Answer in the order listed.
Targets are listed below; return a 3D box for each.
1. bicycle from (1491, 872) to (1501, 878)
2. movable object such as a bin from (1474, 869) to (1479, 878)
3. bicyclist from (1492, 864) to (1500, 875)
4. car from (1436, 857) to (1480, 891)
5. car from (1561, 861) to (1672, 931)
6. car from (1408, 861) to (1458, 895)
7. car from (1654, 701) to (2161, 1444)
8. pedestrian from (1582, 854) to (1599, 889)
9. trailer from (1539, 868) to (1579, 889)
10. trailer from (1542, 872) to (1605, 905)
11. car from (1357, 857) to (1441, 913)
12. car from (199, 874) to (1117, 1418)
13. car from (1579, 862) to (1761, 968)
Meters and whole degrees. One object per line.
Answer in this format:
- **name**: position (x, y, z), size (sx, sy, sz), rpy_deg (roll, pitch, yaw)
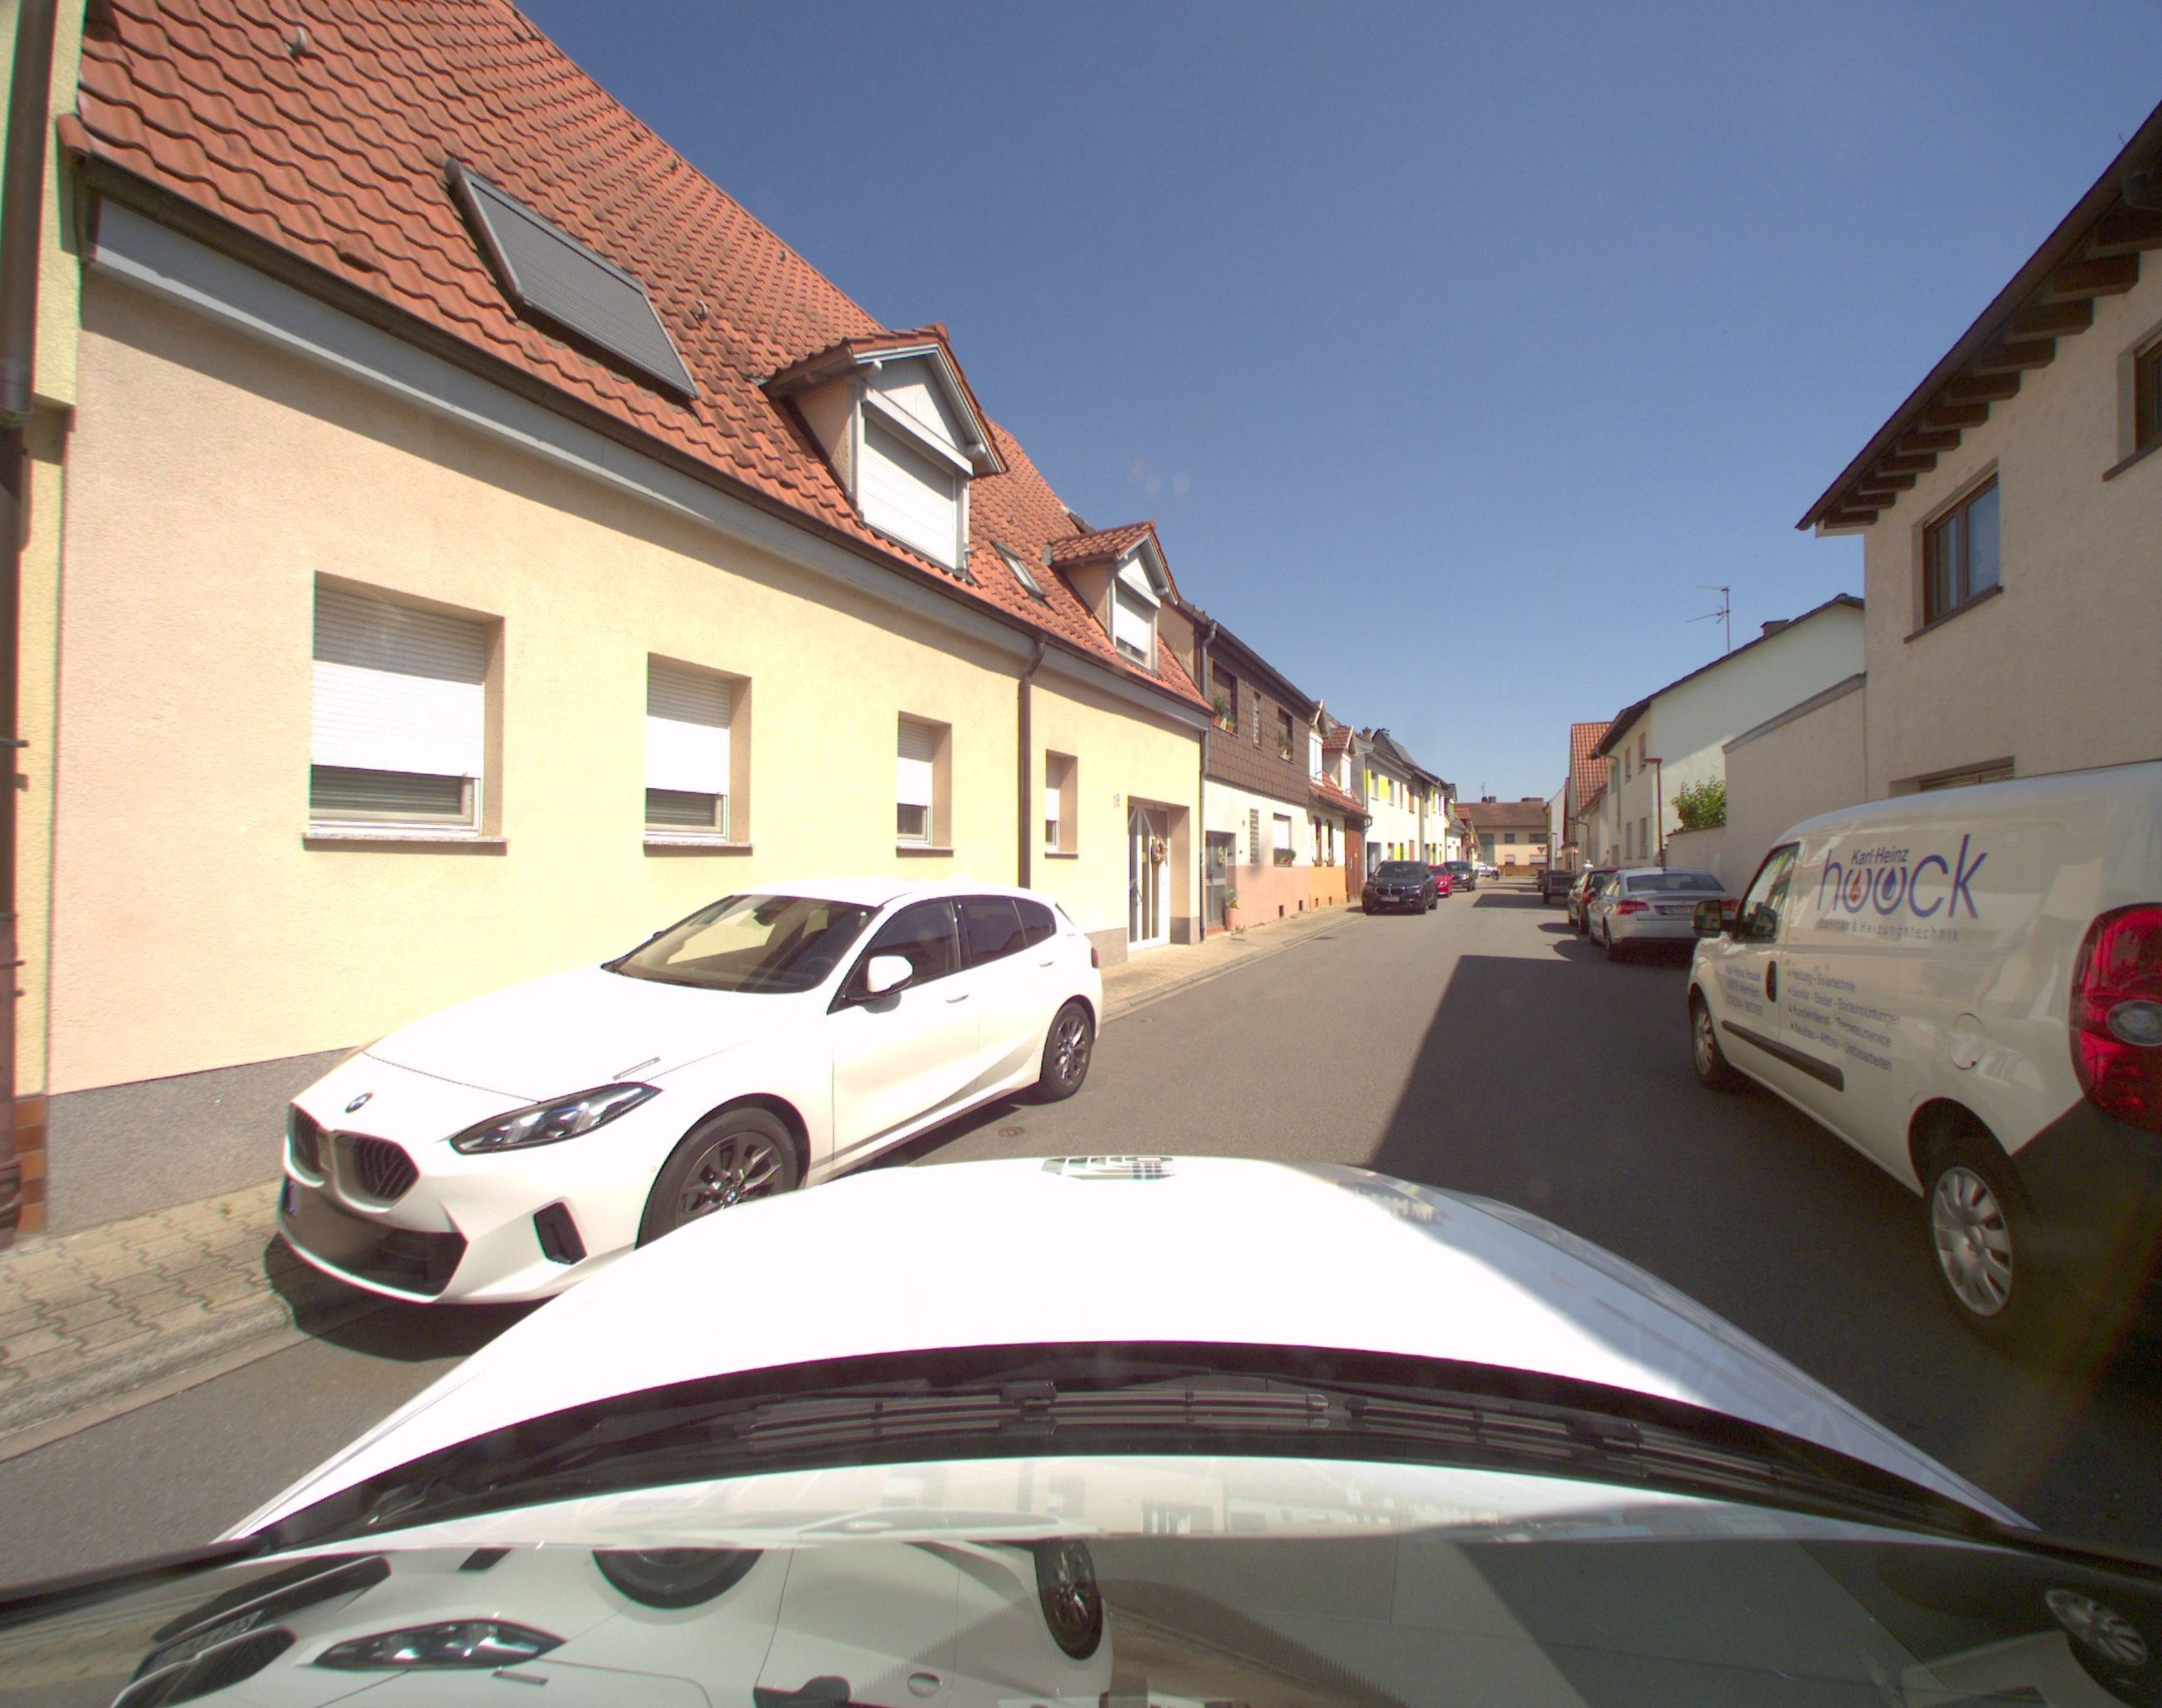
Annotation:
- **bicycle**: position (36.572, 1.852, 71.728), size (0.439, 0.567, 0.940), rpy_deg (0, -1, 5)
- **movable object such as a bin**: position (39.537, 1.963, 81.492), size (0.444, 0.921, 0.406), rpy_deg (-1, -2, 26)
- **bicyclist**: position (36.562, 1.388, 71.732), size (0.459, 0.959, 0.352), rpy_deg (-3, -1, 7)
- **car**: position (20.065, 1.074, 43.270), size (1.783, 1.704, 4.514), rpy_deg (-2, -2, 28)
- **car**: position (12.241, 0.908, 18.842), size (1.634, 1.436, 4.158), rpy_deg (-1, -1, 26)
- **car**: position (15.942, 1.071, 36.752), size (1.783, 1.441, 4.513), rpy_deg (-1, -1, 27)
- **car**: position (4.354, 0.589, 3.911), size (1.793, 1.824, 4.878), rpy_deg (1, 0, 25)
- **pedestrian**: position (23.433, 0.816, 37.485), size (0.590, 1.565, 0.560), rpy_deg (-1, -5, 26)
- **trailer**: position (25.072, 1.283, 42.813), size (1.683, 1.033, 3.502), rpy_deg (-1, -1, 29)
- **trailer**: position (17.698, 1.205, 29.398), size (1.800, 1.090, 3.502), rpy_deg (-1, -1, 29)
- **car**: position (10.003, 0.925, 25.422), size (1.783, 1.574, 4.643), rpy_deg (-1, -1, 29)
- **car**: position (-1.517, 0.856, 4.520), size (1.765, 1.454, 4.240), rpy_deg (-1, -1, 28)
- **car**: position (9.836, 0.926, 14.008), size (1.774, 1.482, 4.963), rpy_deg (-3, -2, 28)
